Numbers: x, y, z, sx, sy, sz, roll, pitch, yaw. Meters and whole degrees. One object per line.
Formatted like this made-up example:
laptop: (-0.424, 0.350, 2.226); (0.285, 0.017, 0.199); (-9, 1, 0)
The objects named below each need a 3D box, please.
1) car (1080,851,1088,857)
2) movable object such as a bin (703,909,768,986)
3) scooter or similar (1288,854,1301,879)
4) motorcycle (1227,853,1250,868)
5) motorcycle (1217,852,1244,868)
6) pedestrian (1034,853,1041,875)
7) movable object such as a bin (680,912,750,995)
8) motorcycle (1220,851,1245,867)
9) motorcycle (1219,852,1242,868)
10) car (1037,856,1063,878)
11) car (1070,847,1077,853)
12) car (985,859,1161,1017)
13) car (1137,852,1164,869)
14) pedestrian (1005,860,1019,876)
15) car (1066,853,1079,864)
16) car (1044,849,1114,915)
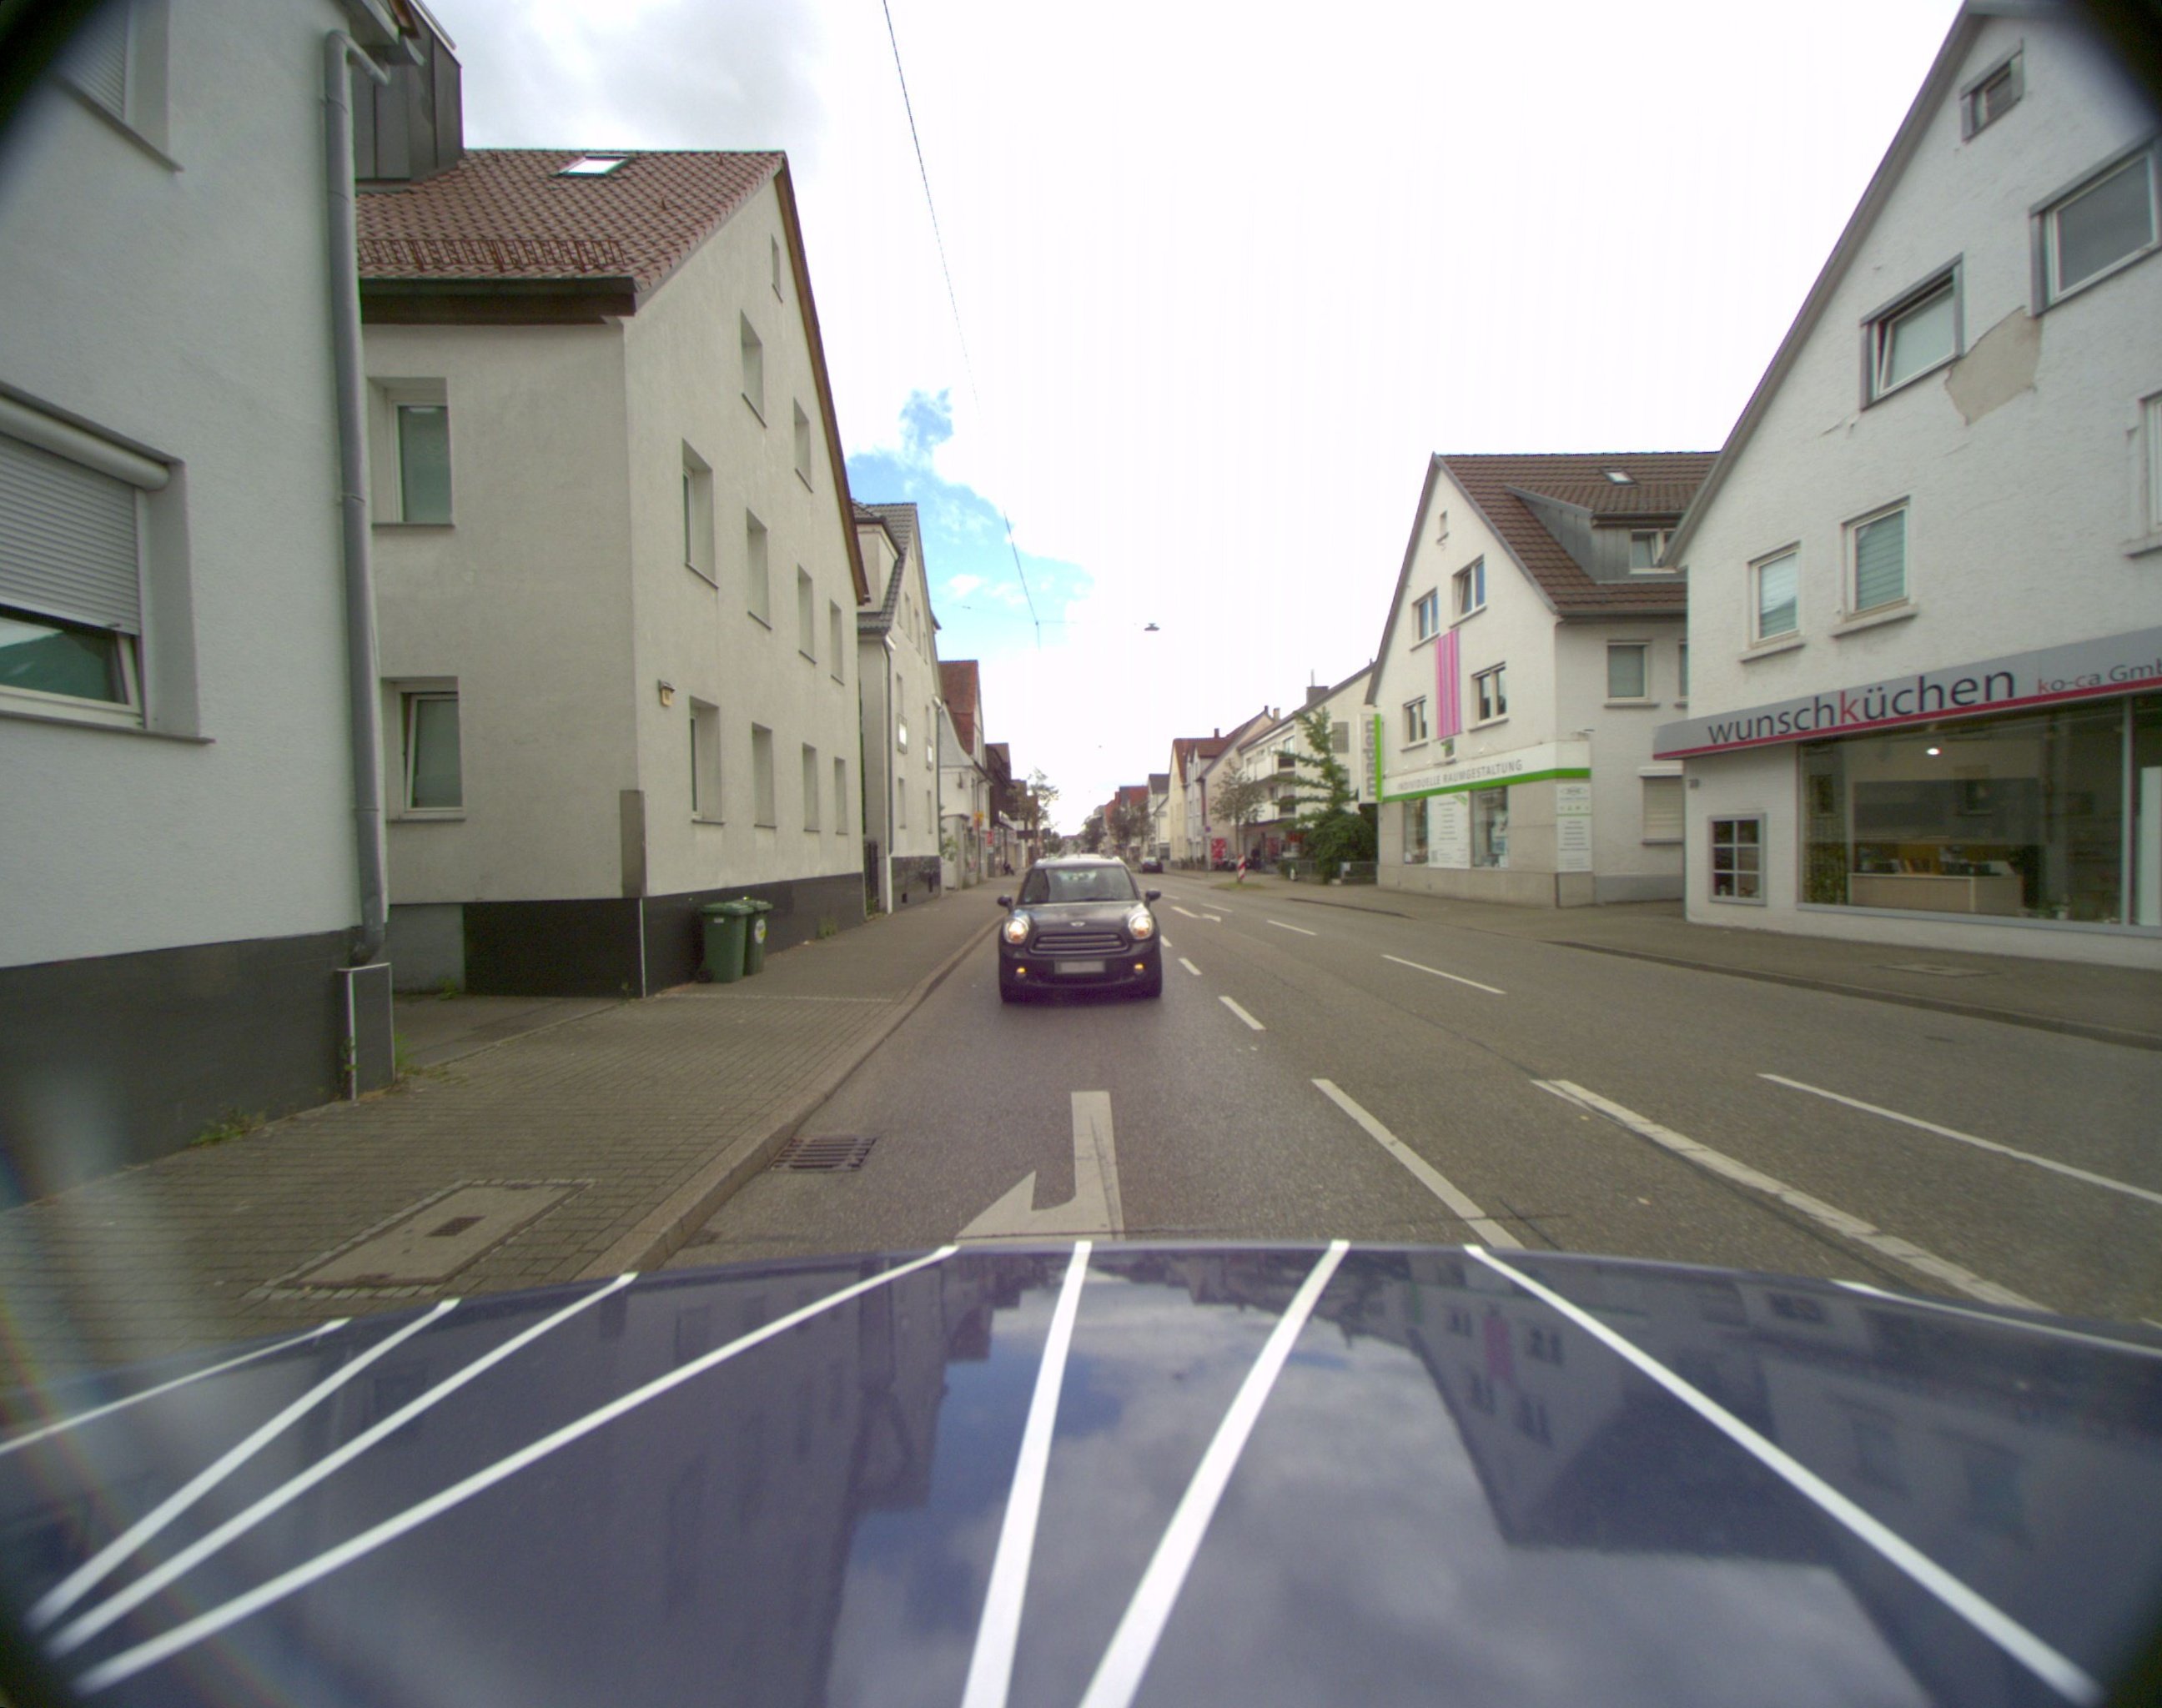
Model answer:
car: (0.746, -0.063, 191.444); (1.846, 1.510, 3.999); (-3, 1, 0)
movable object such as a bin: (-4.315, 1.155, 9.523); (0.565, 0.898, 0.519); (0, 1, 0)
scooter or similar: (10.126, 0.582, 36.071); (0.465, 1.117, 1.829); (-2, 0, 14)
motorcycle: (11.126, 0.458, 53.656); (1.429, 1.017, 0.525); (-3, 1, -1)
motorcycle: (10.897, 0.419, 55.393); (1.834, 1.099, 0.505); (-3, 1, -1)
pedestrian: (-3.456, 0.815, 60.966); (0.497, 1.744, 0.451); (-1, 1, 0)
movable object such as a bin: (-4.283, 1.150, 8.917); (0.565, 0.898, 0.519); (0, 1, 0)
motorcycle: (11.195, 0.397, 56.175); (1.678, 1.099, 0.558); (-3, 1, -1)
motorcycle: (10.692, 0.439, 54.453); (1.515, 1.099, 0.589); (-3, 1, 5)
car: (-2.295, 0.932, 56.678); (1.846, 1.510, 3.999); (-3, 1, -2)
car: (-2.354, -1.260, 237.229); (1.951, 2.117, 4.321); (0, 0, -4)
car: (-0.065, 0.846, 9.507); (1.693, 1.506, 4.000); (-2, 0, 0)
car: (5.861, 0.528, 64.604); (1.634, 1.404, 3.998); (0, 0, -4)
pedestrian: (-5.491, 1.091, 60.482); (0.982, 1.272, 0.667); (-1, 1, 12)
car: (-1.255, 0.659, 115.643); (1.846, 1.510, 3.999); (-3, 1, 0)
car: (-0.145, 0.746, 22.621); (1.811, 1.556, 4.615); (-3, 2, -2)
